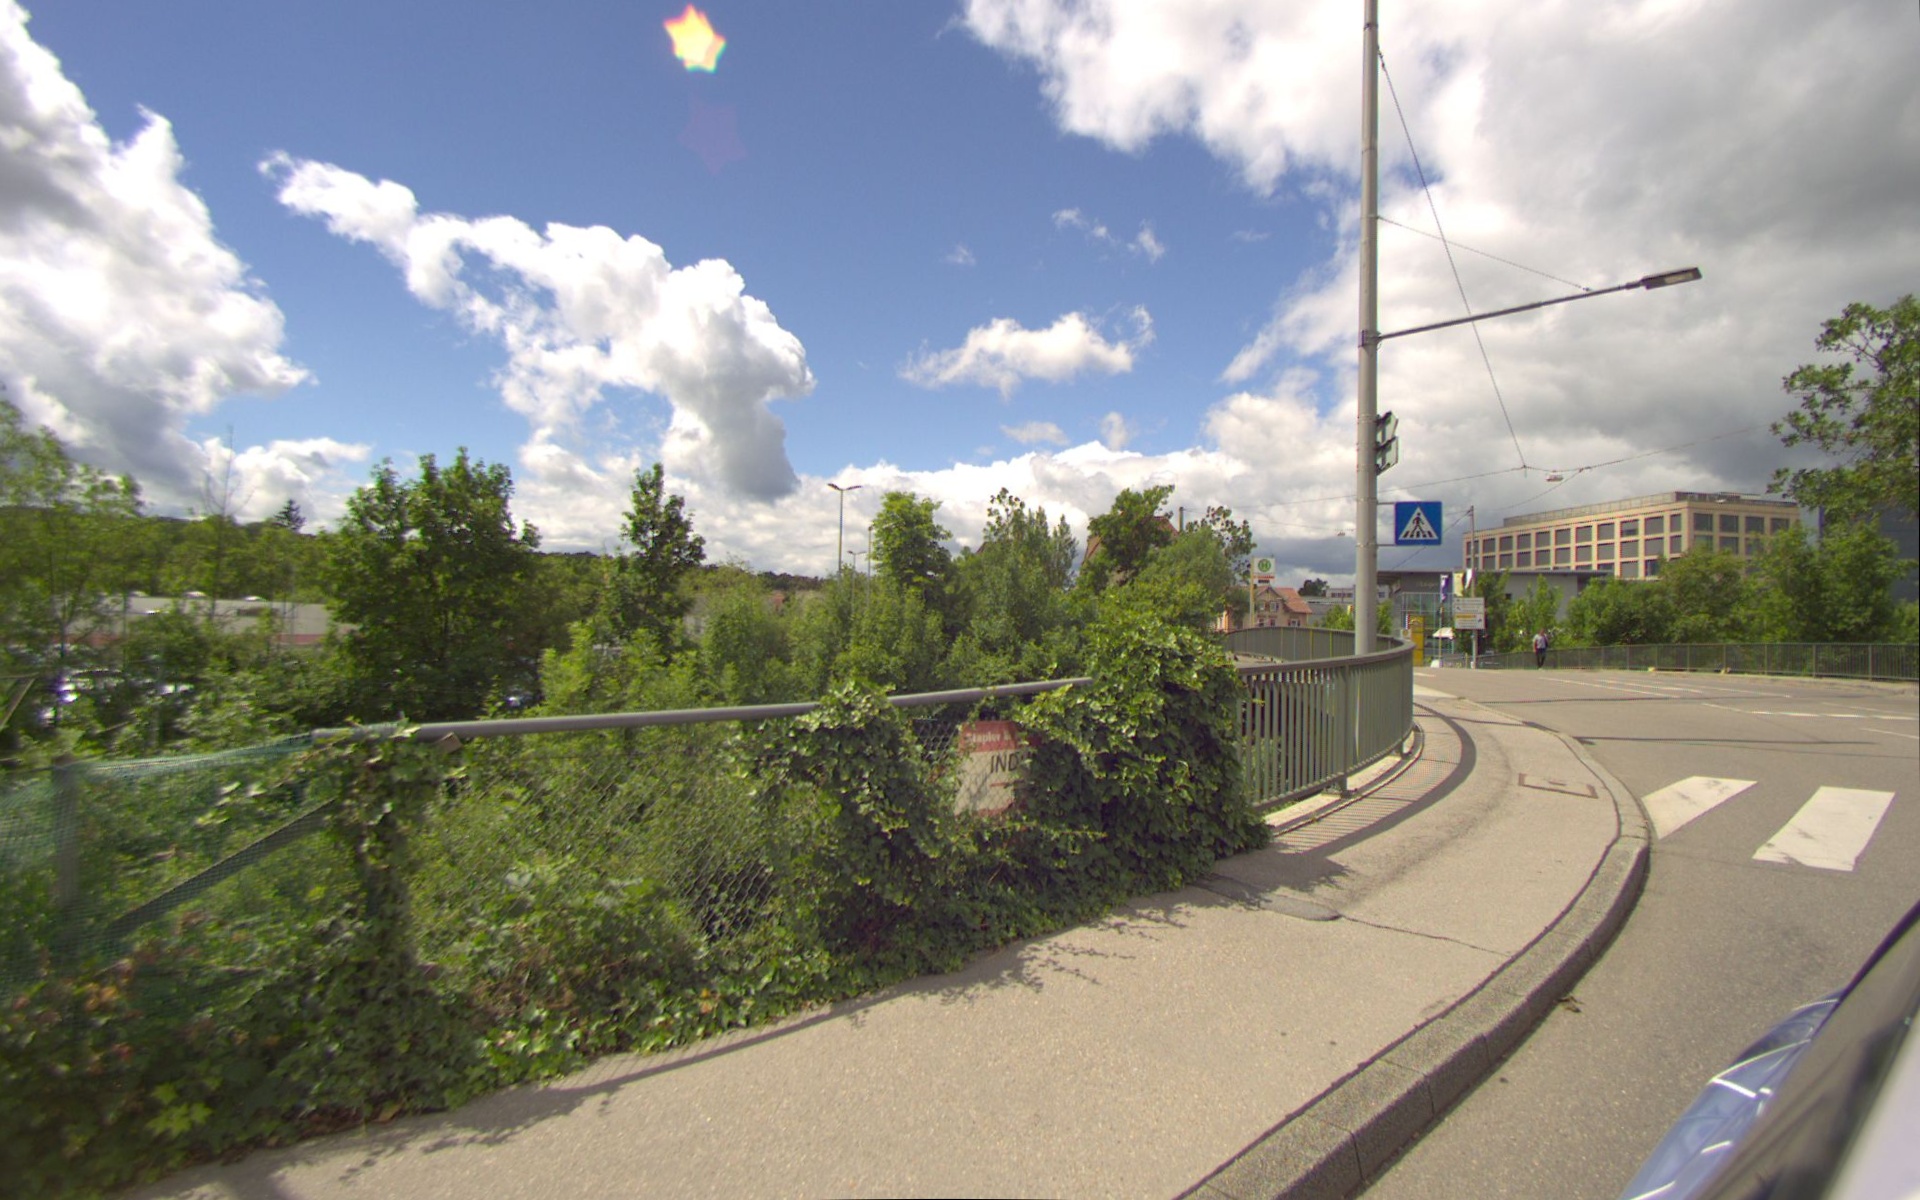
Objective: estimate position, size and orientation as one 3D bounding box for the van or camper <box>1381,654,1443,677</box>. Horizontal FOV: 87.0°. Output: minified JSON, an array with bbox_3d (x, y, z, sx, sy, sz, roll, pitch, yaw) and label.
[{"bbox_3d":[38.436,5.582,86.201,4.621,1.773,1.987,1,-4,18],"label":"van or camper"}]

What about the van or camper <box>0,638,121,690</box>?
[{"bbox_3d":[-50.966,3.595,57.171,5.193,2.727,1.931,-1,-3,-12],"label":"van or camper"}]

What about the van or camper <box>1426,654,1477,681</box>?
[{"bbox_3d":[37.540,5.159,77.213,1.984,1.989,4.876,-3,-6,45],"label":"van or camper"}]

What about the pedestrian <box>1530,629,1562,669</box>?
[{"bbox_3d":[27.448,2.294,47.412,0.985,1.862,1.031,0,-5,15],"label":"pedestrian"}]
